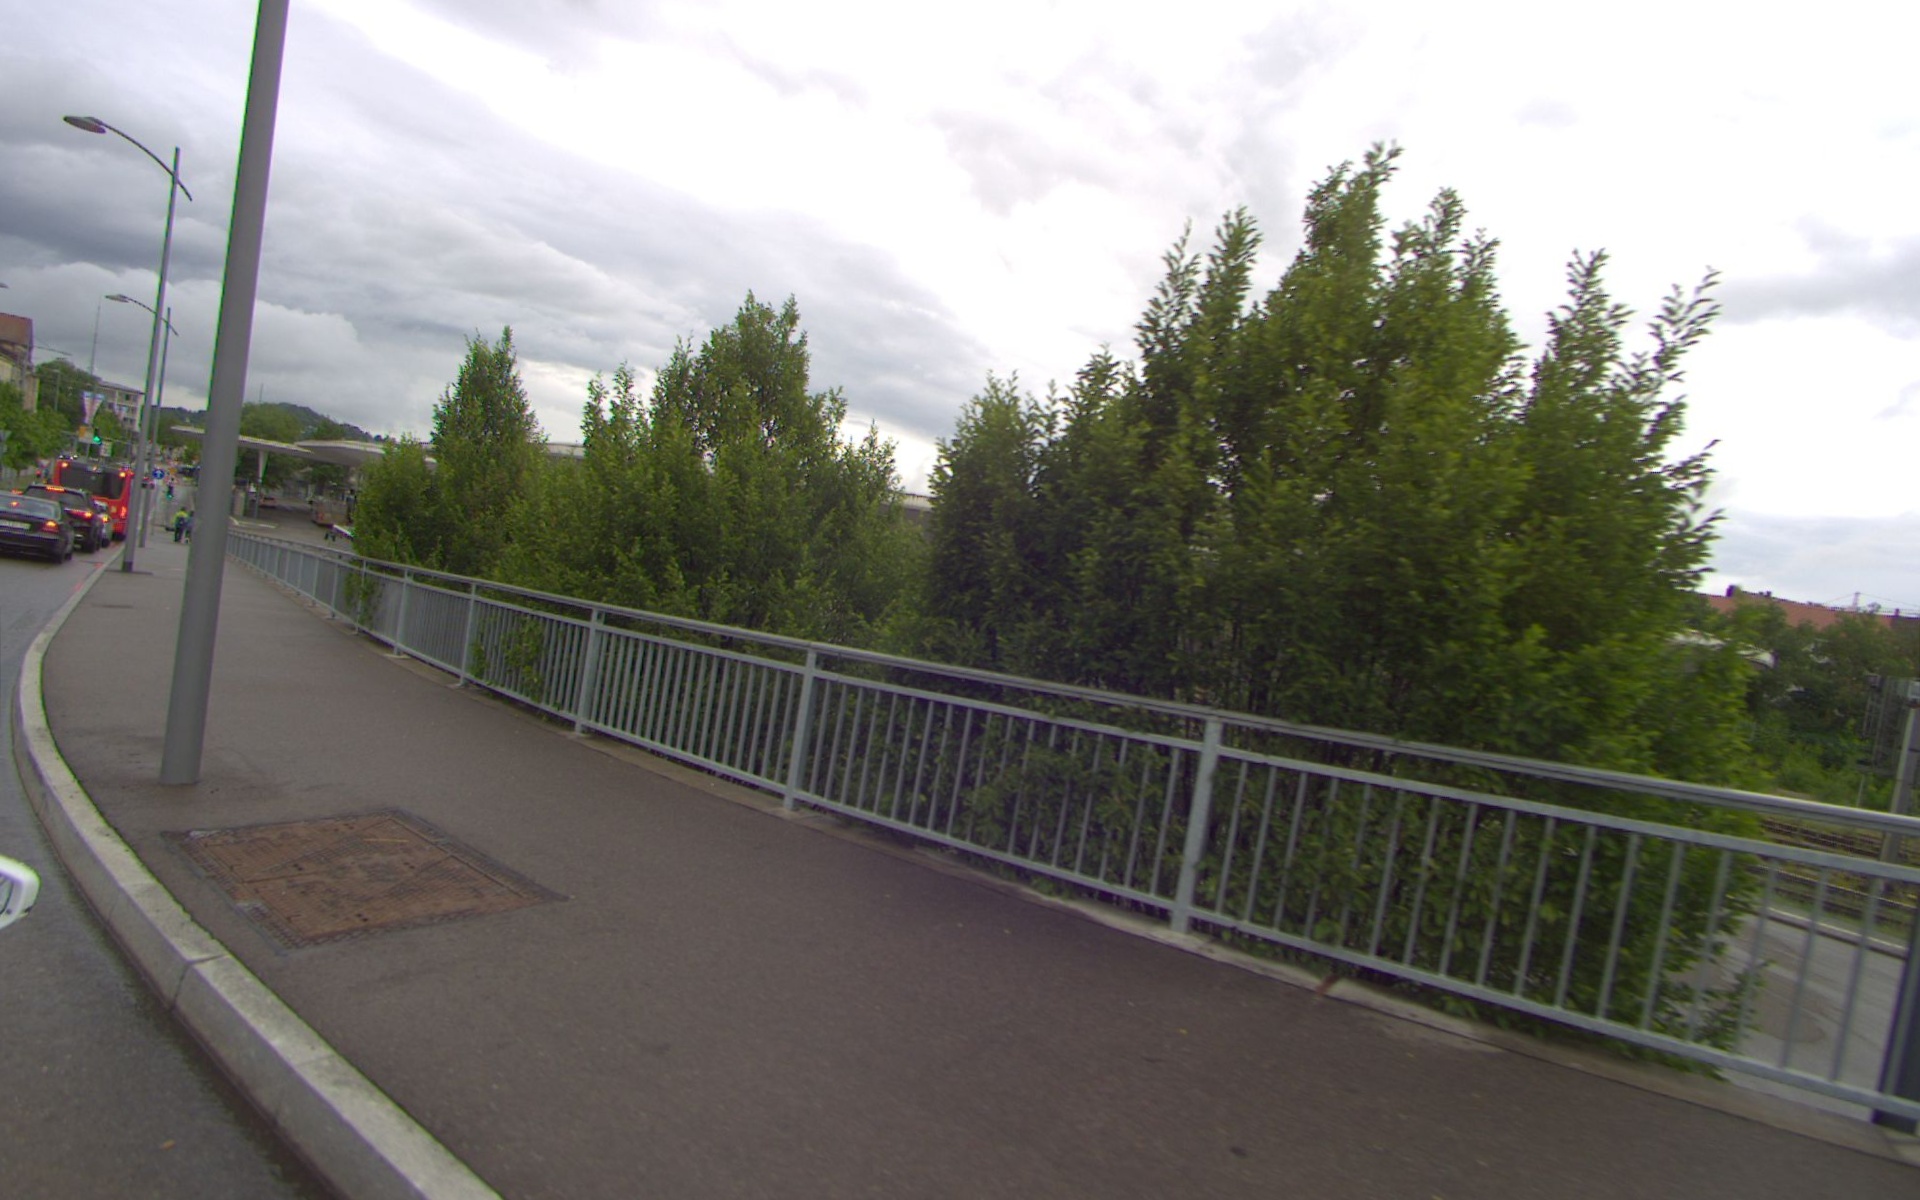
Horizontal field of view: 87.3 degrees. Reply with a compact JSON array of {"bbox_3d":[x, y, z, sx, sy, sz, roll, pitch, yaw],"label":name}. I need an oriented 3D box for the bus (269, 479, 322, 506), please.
[{"bbox_3d":[-117.015,-18.925,177.247,7.175,3.439,3.043,8,1,-43],"label":"bus"}]

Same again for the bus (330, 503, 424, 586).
[{"bbox_3d":[-31.216,-3.048,53.724,2.640,3.275,6.982,10,1,-42],"label":"bus"}]

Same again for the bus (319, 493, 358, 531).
[{"bbox_3d":[-71.011,-10.005,114.825,3.159,3.644,10.413,8,-1,-34],"label":"bus"}]

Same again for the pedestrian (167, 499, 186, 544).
[{"bbox_3d":[-37.036,-3.717,47.562,0.487,2.037,0.465,7,-1,-37],"label":"pedestrian"}]

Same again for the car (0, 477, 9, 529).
[{"bbox_3d":[-37.391,-3.808,37.670,1.986,2.029,3.958,10,-2,-38],"label":"car"}]

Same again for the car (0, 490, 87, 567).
[{"bbox_3d":[-21.443,-1.689,23.055,1.699,1.435,3.688,10,-2,-37],"label":"car"}]

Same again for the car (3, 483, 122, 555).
[{"bbox_3d":[-26.822,-2.407,30.218,1.816,1.706,3.966,10,-2,-32],"label":"car"}]

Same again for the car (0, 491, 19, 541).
[{"bbox_3d":[-42.186,-3.781,43.301,1.987,2.029,3.956,10,-2,-39],"label":"car"}]

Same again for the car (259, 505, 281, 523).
[{"bbox_3d":[-90.277,-11.220,131.653,1.981,2.038,3.964,8,0,-33],"label":"car"}]

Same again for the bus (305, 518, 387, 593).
[{"bbox_3d":[-36.074,-2.681,59.028,2.637,3.278,6.982,7,4,-42],"label":"bus"}]

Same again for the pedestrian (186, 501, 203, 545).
[{"bbox_3d":[-36.523,-3.681,47.999,0.421,2.037,0.479,7,-1,-37],"label":"pedestrian"}]

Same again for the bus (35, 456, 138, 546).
[{"bbox_3d":[-40.067,-4.505,46.439,2.817,3.226,10.196,9,-2,-39],"label":"bus"}]
